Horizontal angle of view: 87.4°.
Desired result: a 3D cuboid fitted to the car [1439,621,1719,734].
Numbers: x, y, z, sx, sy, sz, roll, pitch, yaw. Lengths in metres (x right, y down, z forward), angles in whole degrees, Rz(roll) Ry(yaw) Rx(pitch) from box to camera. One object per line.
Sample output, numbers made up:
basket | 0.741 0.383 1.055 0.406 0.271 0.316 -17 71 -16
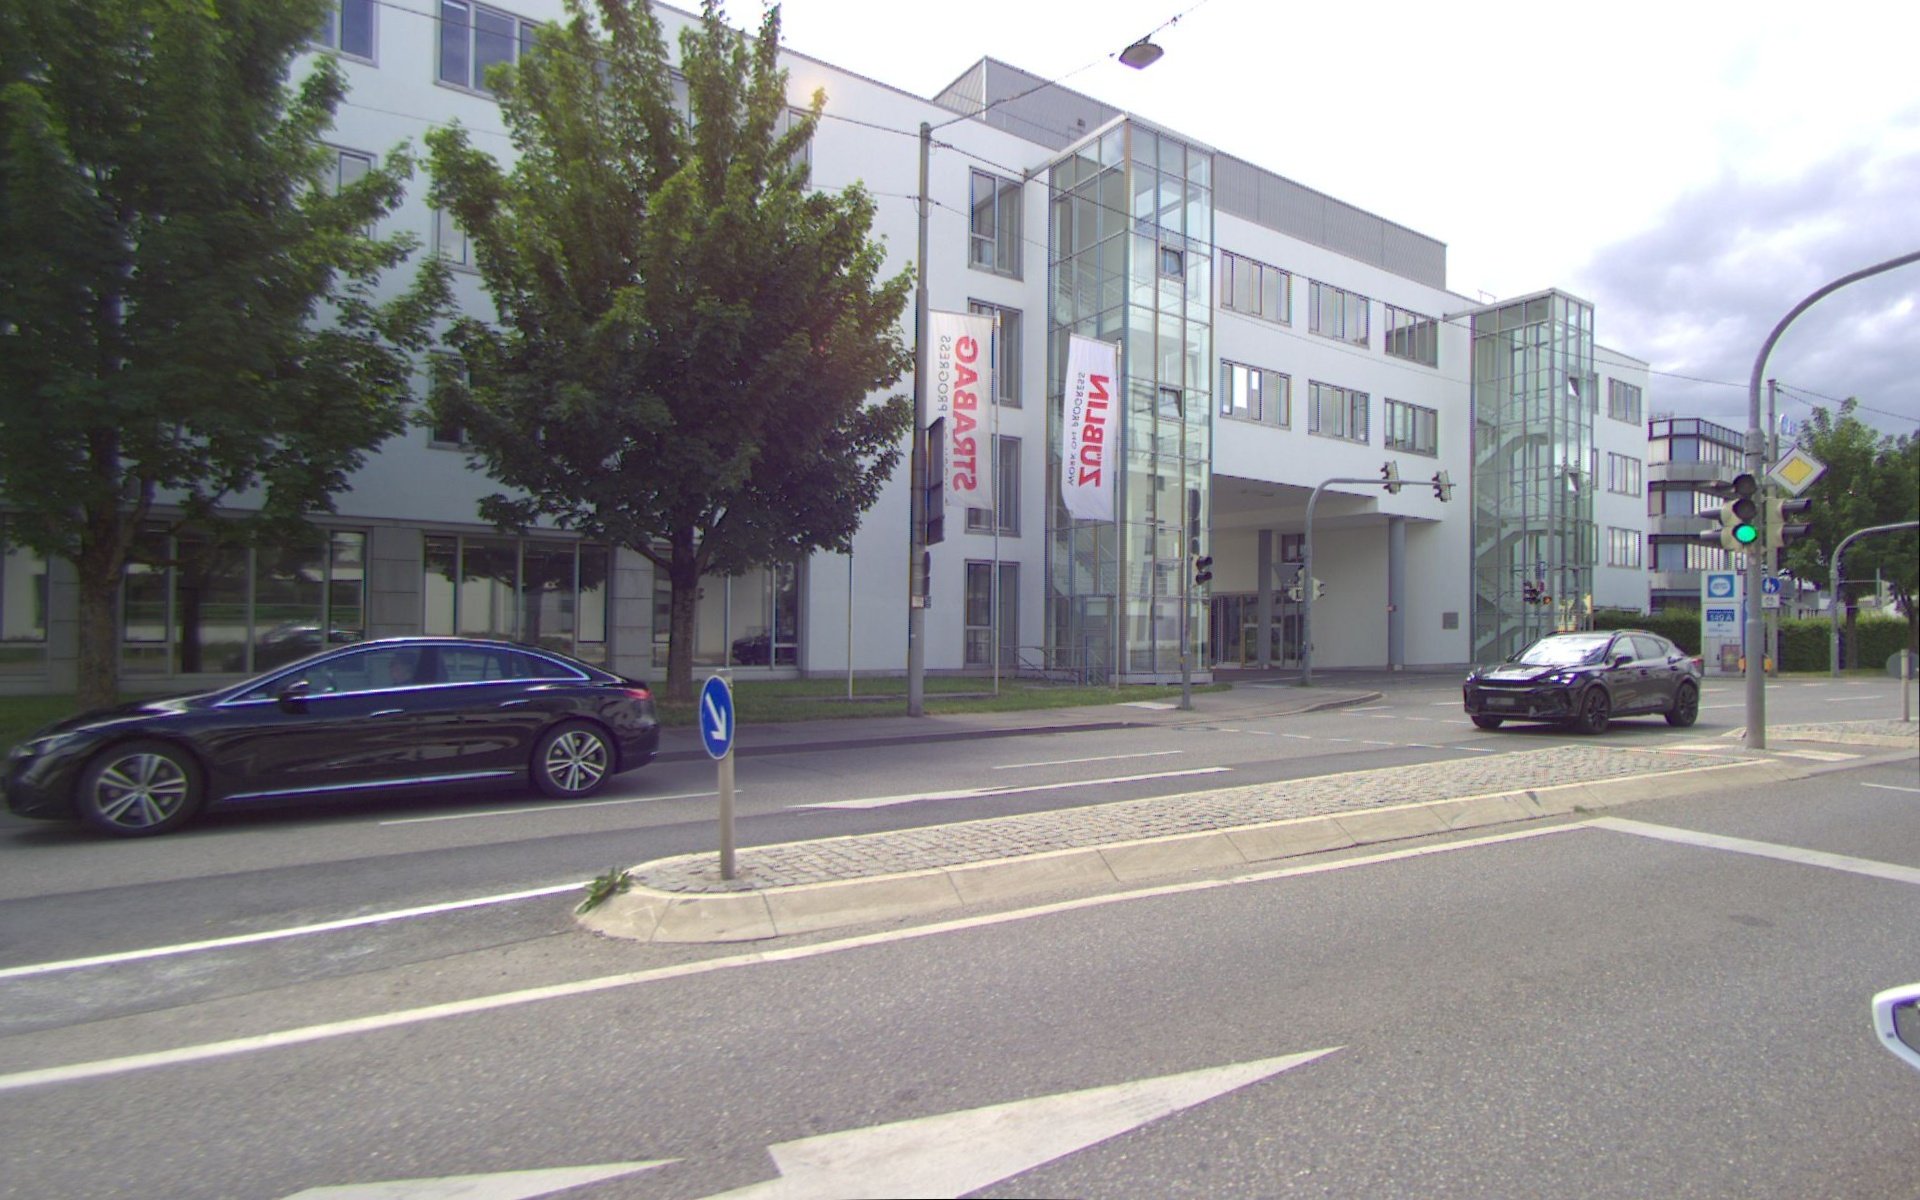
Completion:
car | 9.846 1.193 15.912 4.487 1.572 1.877 2 -3 -30

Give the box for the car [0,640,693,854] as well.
car | -5.178 1.127 9.067 4.999 1.464 2.012 2 -4 -35
